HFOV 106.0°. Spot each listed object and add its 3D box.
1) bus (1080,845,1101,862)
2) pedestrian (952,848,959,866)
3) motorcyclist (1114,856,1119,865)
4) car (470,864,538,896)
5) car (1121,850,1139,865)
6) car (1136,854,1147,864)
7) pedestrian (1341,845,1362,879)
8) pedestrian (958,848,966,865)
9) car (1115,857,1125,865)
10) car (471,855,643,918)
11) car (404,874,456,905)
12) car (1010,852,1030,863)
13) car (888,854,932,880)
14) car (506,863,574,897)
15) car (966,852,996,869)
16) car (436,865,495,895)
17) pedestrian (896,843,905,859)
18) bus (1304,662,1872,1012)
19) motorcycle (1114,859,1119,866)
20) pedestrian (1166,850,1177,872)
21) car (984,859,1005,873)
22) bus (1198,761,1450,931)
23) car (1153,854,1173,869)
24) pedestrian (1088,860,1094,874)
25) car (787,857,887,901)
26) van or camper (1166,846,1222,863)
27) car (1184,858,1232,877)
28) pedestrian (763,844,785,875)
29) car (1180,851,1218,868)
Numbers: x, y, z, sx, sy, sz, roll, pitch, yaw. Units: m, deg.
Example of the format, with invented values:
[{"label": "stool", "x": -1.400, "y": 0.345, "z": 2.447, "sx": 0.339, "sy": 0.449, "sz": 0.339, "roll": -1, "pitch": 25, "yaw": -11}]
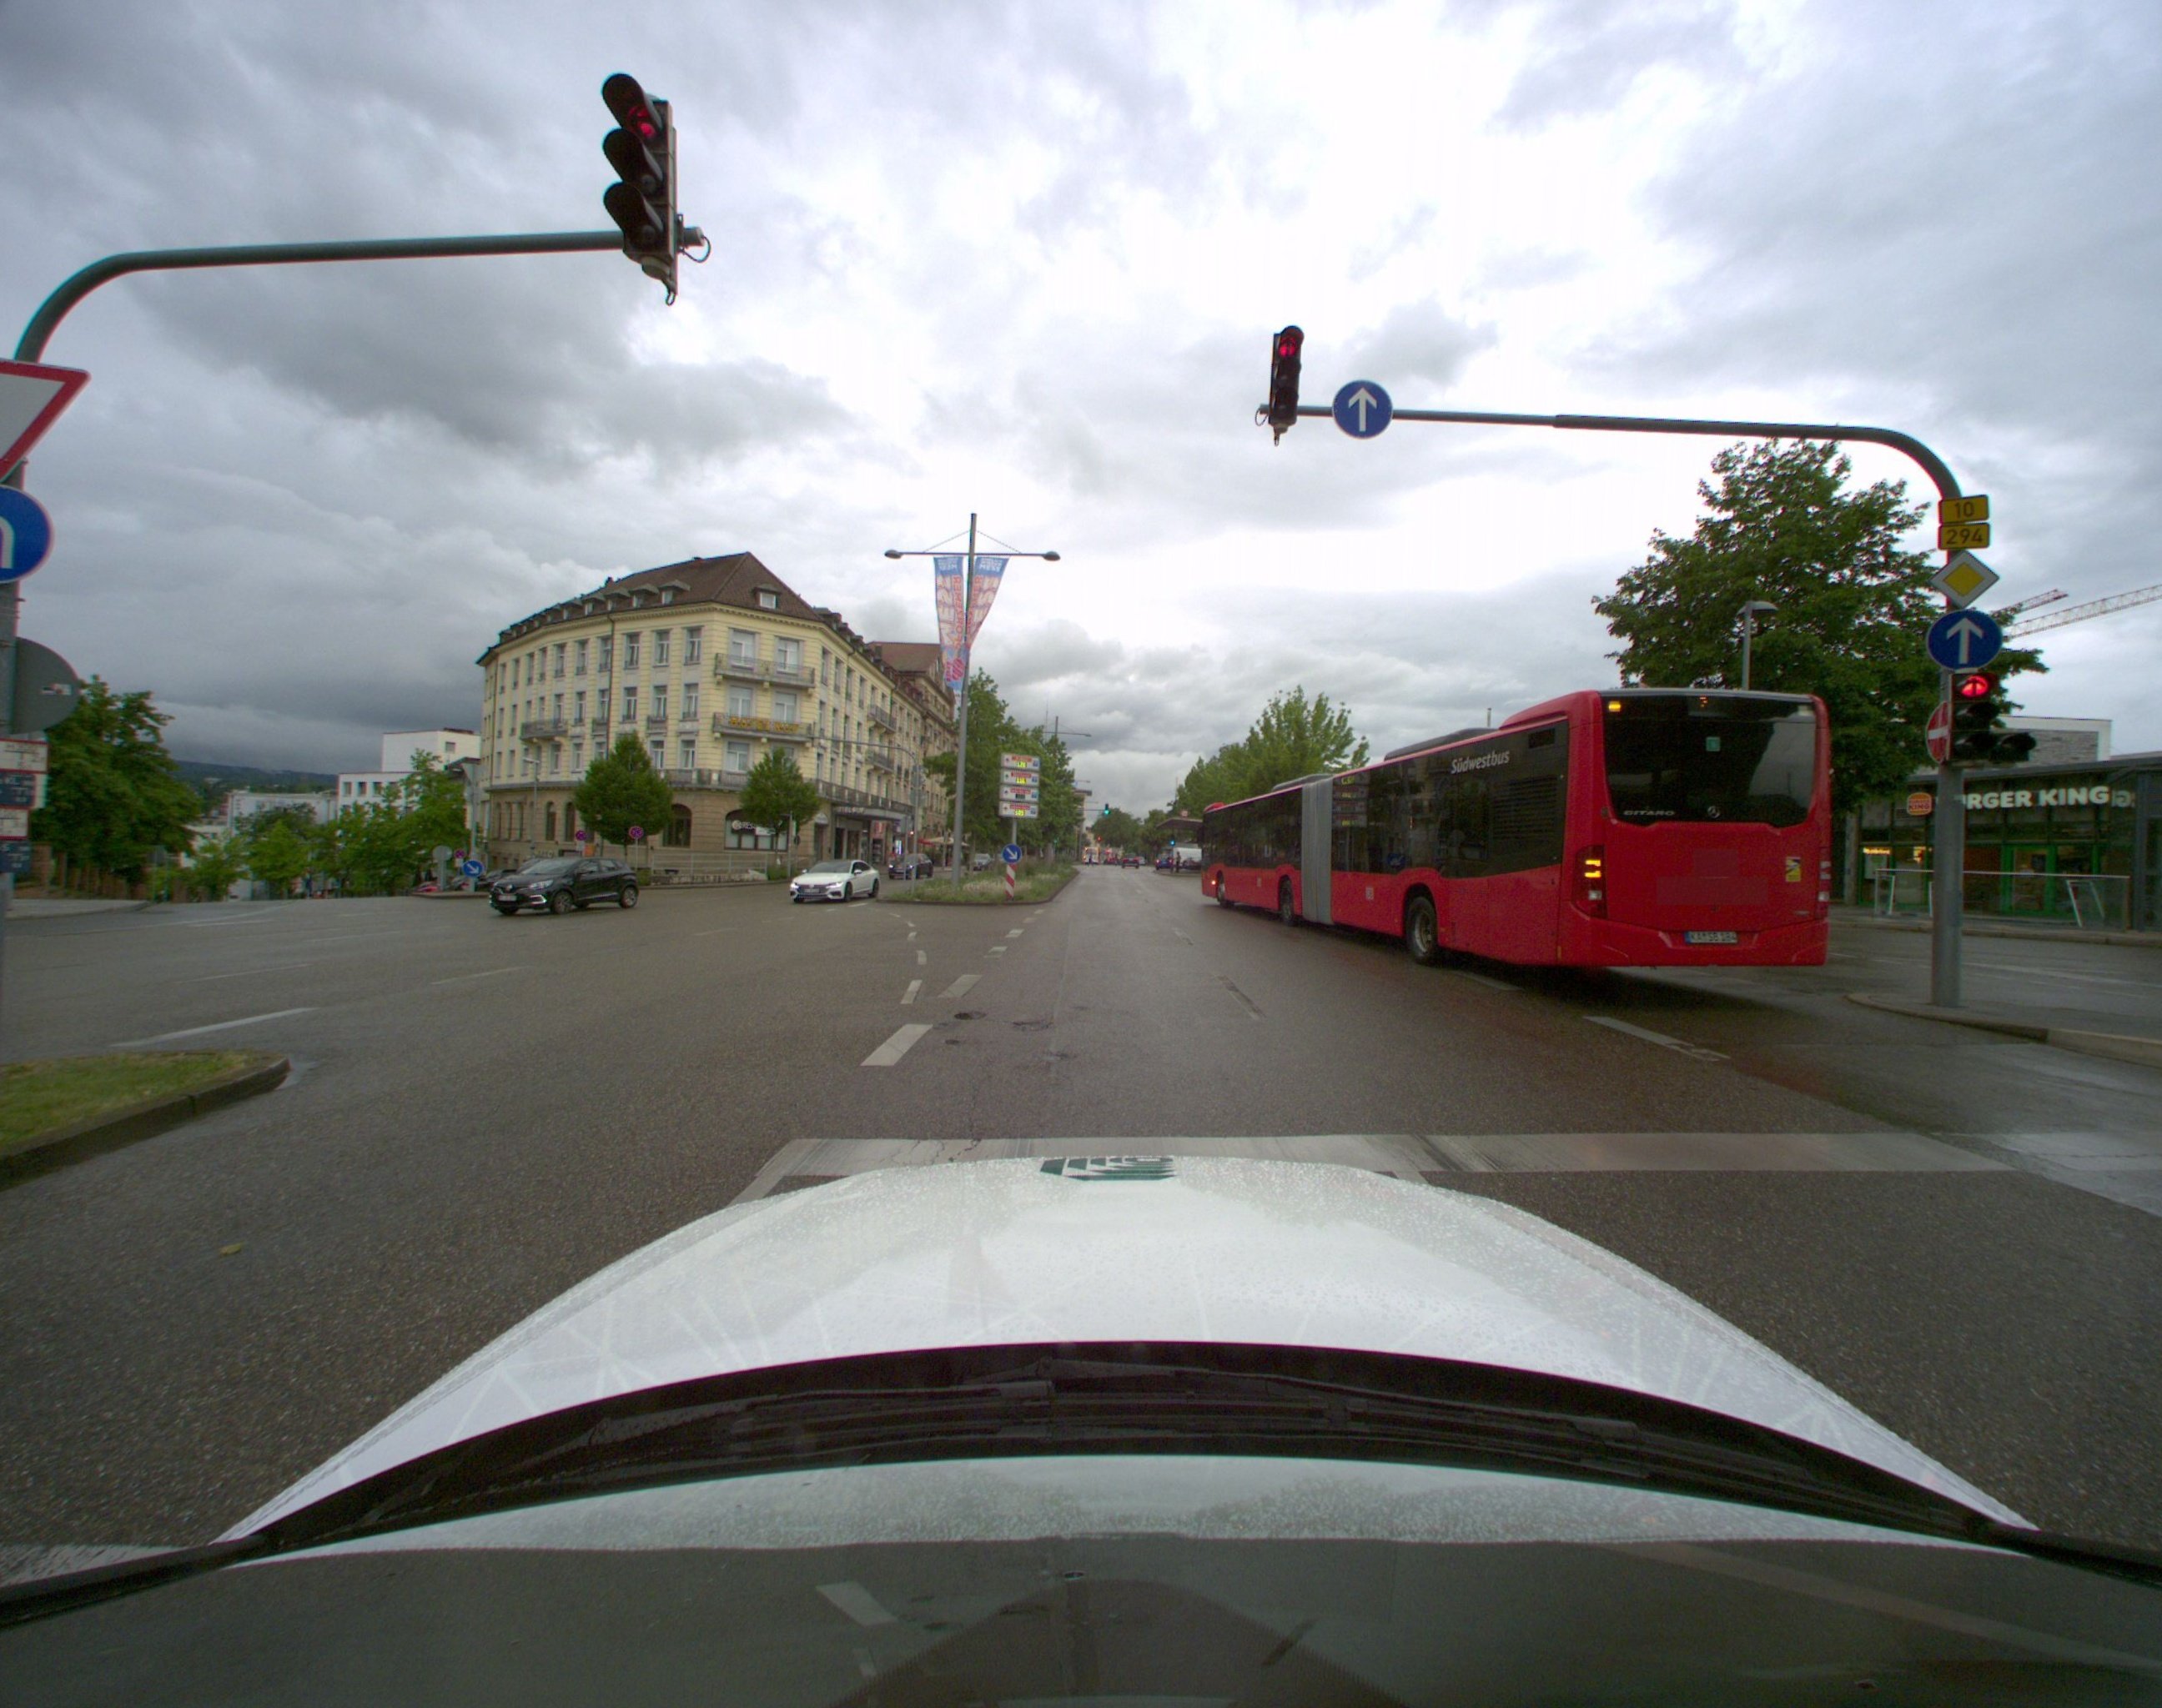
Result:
[{"label": "bus", "x": 1.943, "y": -0.089, "z": 155.880, "sx": 3.747, "sy": 3.209, "sz": 15.528, "roll": 0, "pitch": 0, "yaw": 1}, {"label": "pedestrian", "x": -12.433, "y": 0.289, "z": 80.768, "sx": 0.573, "sy": 1.732, "sz": 0.609, "roll": 0, "pitch": 0, "yaw": 1}, {"label": "motorcyclist", "x": 5.654, "y": 1.036, "z": 129.713, "sx": 0.761, "sy": 1.331, "sz": 0.867, "roll": 0, "pitch": 0, "yaw": 2}, {"label": "car", "x": -31.969, "y": 1.416, "z": 45.112, "sx": 3.948, "sy": 1.640, "sz": 2.013, "roll": -1, "pitch": -1, "yaw": 37}, {"label": "car", "x": 5.942, "y": 0.404, "z": 99.409, "sx": 1.986, "sy": 1.806, "sz": 4.691, "roll": 0, "pitch": 0, "yaw": 2}, {"label": "car", "x": 10.579, "y": 0.882, "z": 143.006, "sx": 1.781, "sy": 1.860, "sz": 4.001, "roll": 0, "pitch": 0, "yaw": 2}, {"label": "pedestrian", "x": 16.357, "y": 0.474, "z": 49.171, "sx": 0.814, "sy": 2.014, "sz": 0.914, "roll": 1, "pitch": 0, "yaw": -22}, {"label": "pedestrian", "x": -11.793, "y": 0.278, "z": 80.753, "sx": 0.672, "sy": 1.701, "sz": 0.634, "roll": 0, "pitch": 0, "yaw": 1}, {"label": "car", "x": 6.972, "y": 1.201, "z": 146.065, "sx": 1.702, "sy": 1.448, "sz": 4.001, "roll": 0, "pitch": 0, "yaw": 2}, {"label": "car", "x": -14.458, "y": 0.828, "z": 22.764, "sx": 1.761, "sy": 1.530, "sz": 4.088, "roll": 0, "pitch": 1, "yaw": 8}, {"label": "car", "x": -41.188, "y": 2.210, "z": 51.494, "sx": 3.575, "sy": 1.812, "sz": 1.788, "roll": 0, "pitch": 0, "yaw": 38}, {"label": "car", "x": -7.280, "y": 0.425, "z": 97.561, "sx": 1.747, "sy": 1.369, "sz": 4.065, "roll": 0, "pitch": 0, "yaw": 4}, {"label": "car", "x": -10.200, "y": 0.754, "z": 48.855, "sx": 1.624, "sy": 1.476, "sz": 4.028, "roll": 0, "pitch": 0, "yaw": 2}, {"label": "car", "x": -27.101, "y": 1.272, "z": 40.772, "sx": 3.949, "sy": 1.568, "sz": 1.812, "roll": 0, "pitch": 0, "yaw": 41}, {"label": "car", "x": -8.489, "y": 0.525, "z": 69.447, "sx": 1.747, "sy": 1.441, "sz": 4.064, "roll": 0, "pitch": 0, "yaw": 4}, {"label": "car", "x": -36.312, "y": 1.493, "z": 48.034, "sx": 3.864, "sy": 1.640, "sz": 1.805, "roll": 0, "pitch": 0, "yaw": 37}, {"label": "pedestrian", "x": -16.546, "y": -0.268, "z": 74.799, "sx": 0.666, "sy": 1.510, "sz": 0.513, "roll": 0, "pitch": -1, "yaw": -36}, {"label": "bus", "x": 5.781, "y": -0.146, "z": 11.520, "sx": 2.736, "sy": 3.174, "sz": 8.112, "roll": 0, "pitch": 0, "yaw": -3}, {"label": "motorcycle", "x": 5.654, "y": 1.391, "z": 129.543, "sx": 0.763, "sy": 1.077, "sz": 2.176, "roll": 0, "pitch": 0, "yaw": 2}, {"label": "pedestrian", "x": 7.411, "y": 0.597, "z": 66.625, "sx": 0.717, "sy": 1.791, "sz": 0.663, "roll": 0, "pitch": 0, "yaw": -10}, {"label": "car", "x": -8.750, "y": 1.245, "z": 82.729, "sx": 1.749, "sy": 1.369, "sz": 4.059, "roll": 0, "pitch": 0, "yaw": 0}, {"label": "bus", "x": 5.289, "y": -0.141, "z": 20.328, "sx": 2.737, "sy": 3.174, "sz": 10.182, "roll": 0, "pitch": 0, "yaw": -3}, {"label": "car", "x": 8.559, "y": 0.757, "z": 85.378, "sx": 1.809, "sy": 1.530, "sz": 4.001, "roll": 0, "pitch": 0, "yaw": 2}, {"label": "pedestrian", "x": 1.229, "y": 1.654, "z": 100.910, "sx": 0.754, "sy": 1.701, "sz": 0.561, "roll": 0, "pitch": 0, "yaw": 8}, {"label": "car", "x": -8.395, "y": 0.843, "z": 28.473, "sx": 1.717, "sy": 1.382, "sz": 4.863, "roll": -2, "pitch": -1, "yaw": 3}, {"label": "van or camper", "x": 14.232, "y": 0.083, "z": 102.699, "sx": 6.787, "sy": 2.014, "sz": 2.366, "roll": 0, "pitch": -1, "yaw": -25}, {"label": "car", "x": 12.821, "y": 1.386, "z": 82.141, "sx": 4.348, "sy": 1.857, "sz": 1.988, "roll": 0, "pitch": 0, "yaw": -18}, {"label": "pedestrian", "x": -18.333, "y": 0.324, "z": 48.654, "sx": 0.860, "sy": 1.878, "sz": 1.023, "roll": 0, "pitch": 0, "yaw": 1}, {"label": "car", "x": 14.024, "y": 0.667, "z": 96.506, "sx": 3.998, "sy": 2.014, "sz": 1.988, "roll": 0, "pitch": 0, "yaw": -18}]
